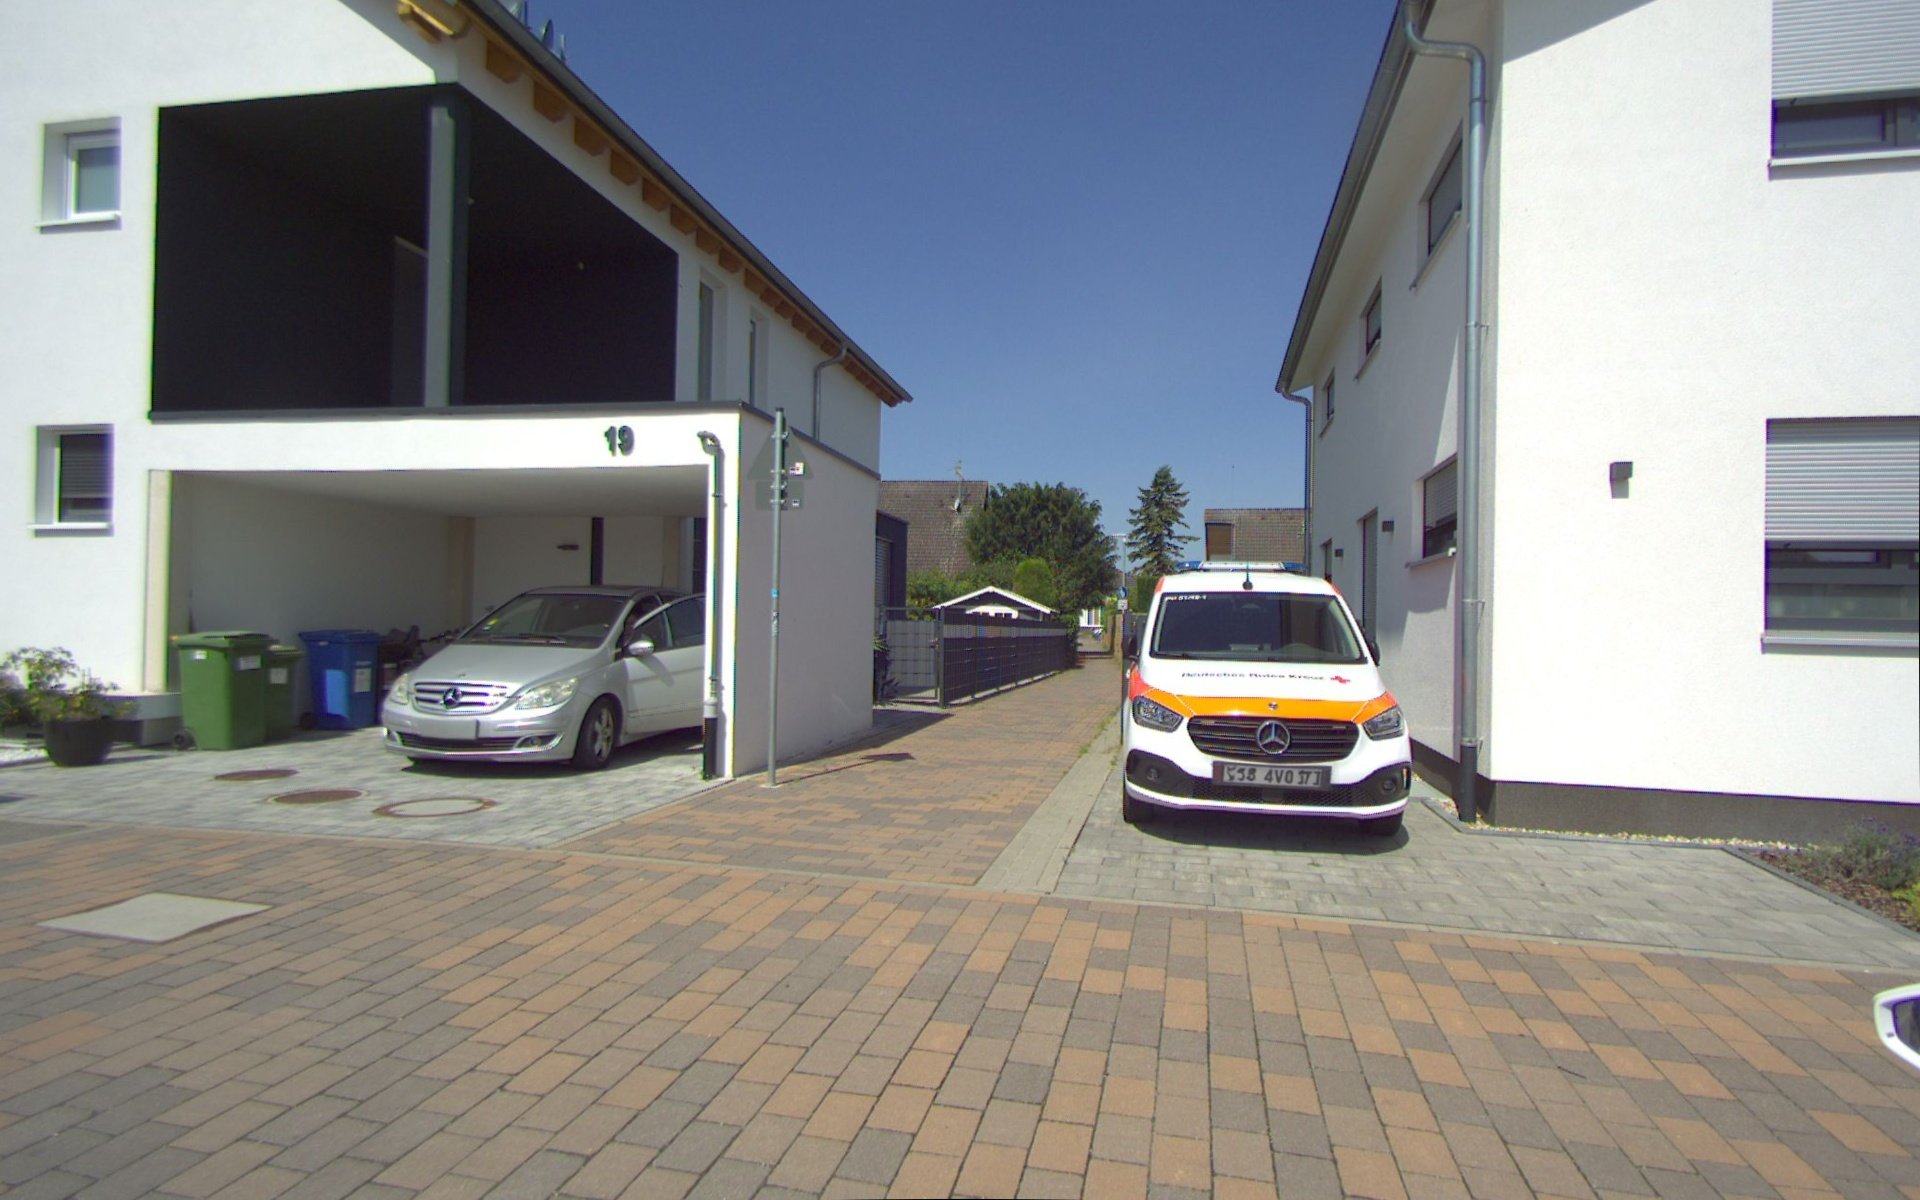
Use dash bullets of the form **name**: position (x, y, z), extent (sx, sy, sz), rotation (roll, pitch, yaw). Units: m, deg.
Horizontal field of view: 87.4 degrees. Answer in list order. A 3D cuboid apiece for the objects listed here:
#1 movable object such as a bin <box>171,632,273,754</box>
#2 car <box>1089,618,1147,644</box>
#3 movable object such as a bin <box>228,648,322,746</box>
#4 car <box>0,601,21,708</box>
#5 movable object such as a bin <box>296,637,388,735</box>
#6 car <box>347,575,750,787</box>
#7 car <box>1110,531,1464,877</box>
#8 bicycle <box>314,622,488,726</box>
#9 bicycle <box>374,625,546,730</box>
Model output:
- **movable object such as a bin**: position (-6.904, 0.855, 9.412), extent (0.589, 1.106, 0.500), rotation (-1, -1, 9)
- **car**: position (11.448, 2.244, 72.777), extent (4.076, 1.739, 1.907), rotation (1, -1, 11)
- **movable object such as a bin**: position (-6.824, 0.955, 10.021), extent (0.550, 0.917, 0.500), rotation (2, 0, 9)
- **car**: position (-13.749, 0.669, 11.554), extent (1.720, 1.399, 4.064), rotation (1, -1, 10)
- **movable object such as a bin**: position (-6.734, 0.926, 10.957), extent (0.663, 1.000, 0.500), rotation (2, 0, 9)
- **car**: position (-3.617, 0.673, 9.783), extent (1.710, 1.582, 4.169), rotation (1, -2, 8)
- **car**: position (2.286, 0.626, 8.041), extent (1.899, 1.899, 4.755), rotation (1, -1, 11)
- **bicycle**: position (-6.880, 0.865, 12.521), extent (0.763, 1.141, 2.134), rotation (2, -1, 6)
- **bicycle**: position (-6.054, 0.890, 12.326), extent (0.716, 1.141, 2.134), rotation (2, -1, 10)
